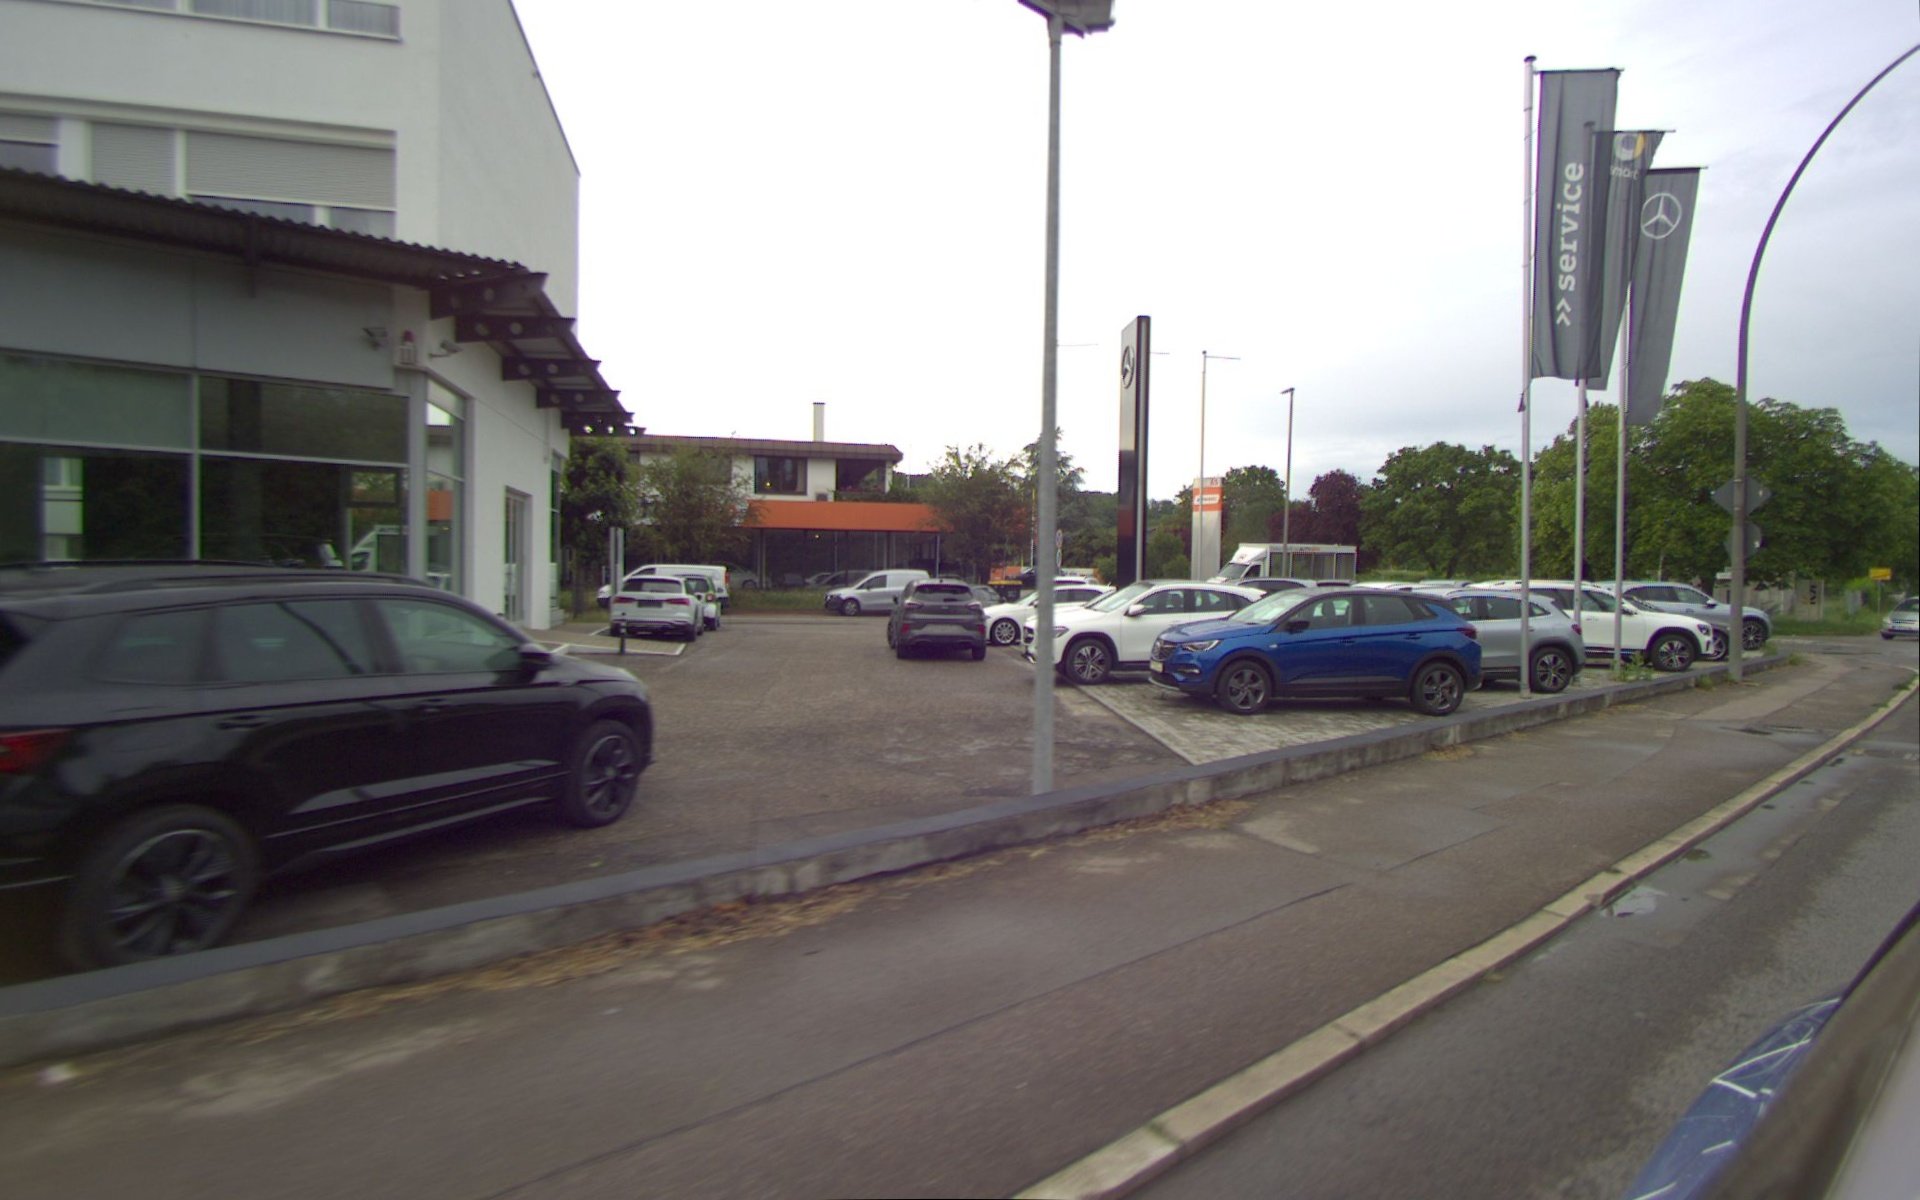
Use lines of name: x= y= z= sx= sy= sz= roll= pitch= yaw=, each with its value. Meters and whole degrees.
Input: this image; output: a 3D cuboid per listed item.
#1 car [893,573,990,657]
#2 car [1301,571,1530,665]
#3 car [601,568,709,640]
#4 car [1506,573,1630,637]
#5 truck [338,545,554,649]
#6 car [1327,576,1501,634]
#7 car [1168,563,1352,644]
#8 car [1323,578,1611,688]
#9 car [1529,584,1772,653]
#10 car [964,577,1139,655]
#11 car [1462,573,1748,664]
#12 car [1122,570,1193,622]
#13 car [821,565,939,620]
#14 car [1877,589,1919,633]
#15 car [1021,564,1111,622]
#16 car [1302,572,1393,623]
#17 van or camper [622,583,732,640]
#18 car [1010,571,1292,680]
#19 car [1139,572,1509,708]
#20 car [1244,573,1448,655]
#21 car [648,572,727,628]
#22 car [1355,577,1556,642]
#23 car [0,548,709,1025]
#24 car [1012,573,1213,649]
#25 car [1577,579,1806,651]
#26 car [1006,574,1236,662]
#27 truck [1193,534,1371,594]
car: x=-0.452 y=0.236 z=20.517 sx=1.745 sy=1.496 sz=3.567 roll=1 pitch=2 yaw=-4
car: x=8.414 y=0.308 z=18.875 sx=3.488 sy=1.619 sz=1.666 roll=1 pitch=2 yaw=-5
car: x=-6.927 y=0.038 z=23.405 sx=1.958 sy=1.460 sz=4.420 roll=1 pitch=1 yaw=-12
car: x=17.632 y=0.100 z=29.262 sx=4.629 sy=1.694 sz=1.810 roll=-1 pitch=1 yaw=-42
truck: x=-18.529 y=-0.123 z=36.883 sx=6.511 sy=3.457 sz=2.576 roll=-2 pitch=-1 yaw=-12
car: x=12.634 y=0.132 z=28.398 sx=4.052 sy=1.479 sz=1.770 roll=1 pitch=0 yaw=5
car: x=7.362 y=0.069 z=25.031 sx=3.919 sy=1.742 sz=1.681 roll=-3 pitch=0 yaw=-6
car: x=8.048 y=0.493 z=16.271 sx=3.738 sy=1.619 sz=1.734 roll=1 pitch=2 yaw=-4
car: x=15.269 y=0.351 z=22.638 sx=4.087 sy=1.411 sz=1.841 roll=1 pitch=1 yaw=18
car: x=2.180 y=0.370 z=24.832 sx=3.907 sy=1.662 sz=1.774 roll=-3 pitch=0 yaw=-6
car: x=12.648 y=0.316 z=20.165 sx=4.361 sy=1.673 sz=1.920 roll=1 pitch=1 yaw=13
car: x=6.235 y=-0.121 z=31.616 sx=1.748 sy=1.479 sz=3.978 roll=1 pitch=0 yaw=17
car: x=-3.208 y=-0.308 z=40.428 sx=4.357 sy=2.039 sz=1.836 roll=-2 pitch=-1 yaw=-17
car: x=36.352 y=0.427 z=37.266 sx=3.916 sy=1.566 sz=2.005 roll=1 pitch=1 yaw=-15
car: x=3.144 y=-0.200 z=29.447 sx=1.751 sy=1.571 sz=3.426 roll=1 pitch=0 yaw=21
car: x=12.519 y=-0.077 z=32.514 sx=2.056 sy=1.479 sz=4.715 roll=1 pitch=0 yaw=29
van or camper: x=-10.740 y=0.409 z=38.506 sx=3.916 sy=2.066 sz=1.812 roll=-1 pitch=0 yaw=-15
car: x=3.018 y=0.376 z=16.342 sx=4.093 sy=1.619 sz=1.736 roll=0 pitch=2 yaw=-10
car: x=4.793 y=0.494 z=13.709 sx=4.279 sy=1.652 sz=1.846 roll=1 pitch=2 yaw=-5
car: x=8.507 y=0.267 z=22.497 sx=3.847 sy=1.470 sz=1.685 roll=-2 pitch=6 yaw=-3
car: x=-7.912 y=-0.045 z=29.670 sx=1.958 sy=1.498 sz=4.008 roll=1 pitch=1 yaw=-12
car: x=12.442 y=0.199 z=25.500 sx=4.273 sy=1.518 sz=1.970 roll=-1 pitch=0 yaw=-14
car: x=-3.462 y=0.595 z=5.574 sx=1.819 sy=1.628 sz=4.519 roll=2 pitch=1 yaw=20
car: x=3.261 y=0.232 z=22.050 sx=3.918 sy=1.565 sz=1.906 roll=0 pitch=0 yaw=-8
car: x=18.225 y=0.359 z=25.358 sx=4.282 sy=1.692 sz=1.966 roll=0 pitch=0 yaw=0
car: x=2.971 y=0.327 z=19.177 sx=3.919 sy=1.565 sz=1.906 roll=0 pitch=0 yaw=-7
truck: x=15.872 y=-1.781 z=49.814 sx=8.298 sy=2.656 sz=2.794 roll=-2 pitch=-1 yaw=-20
